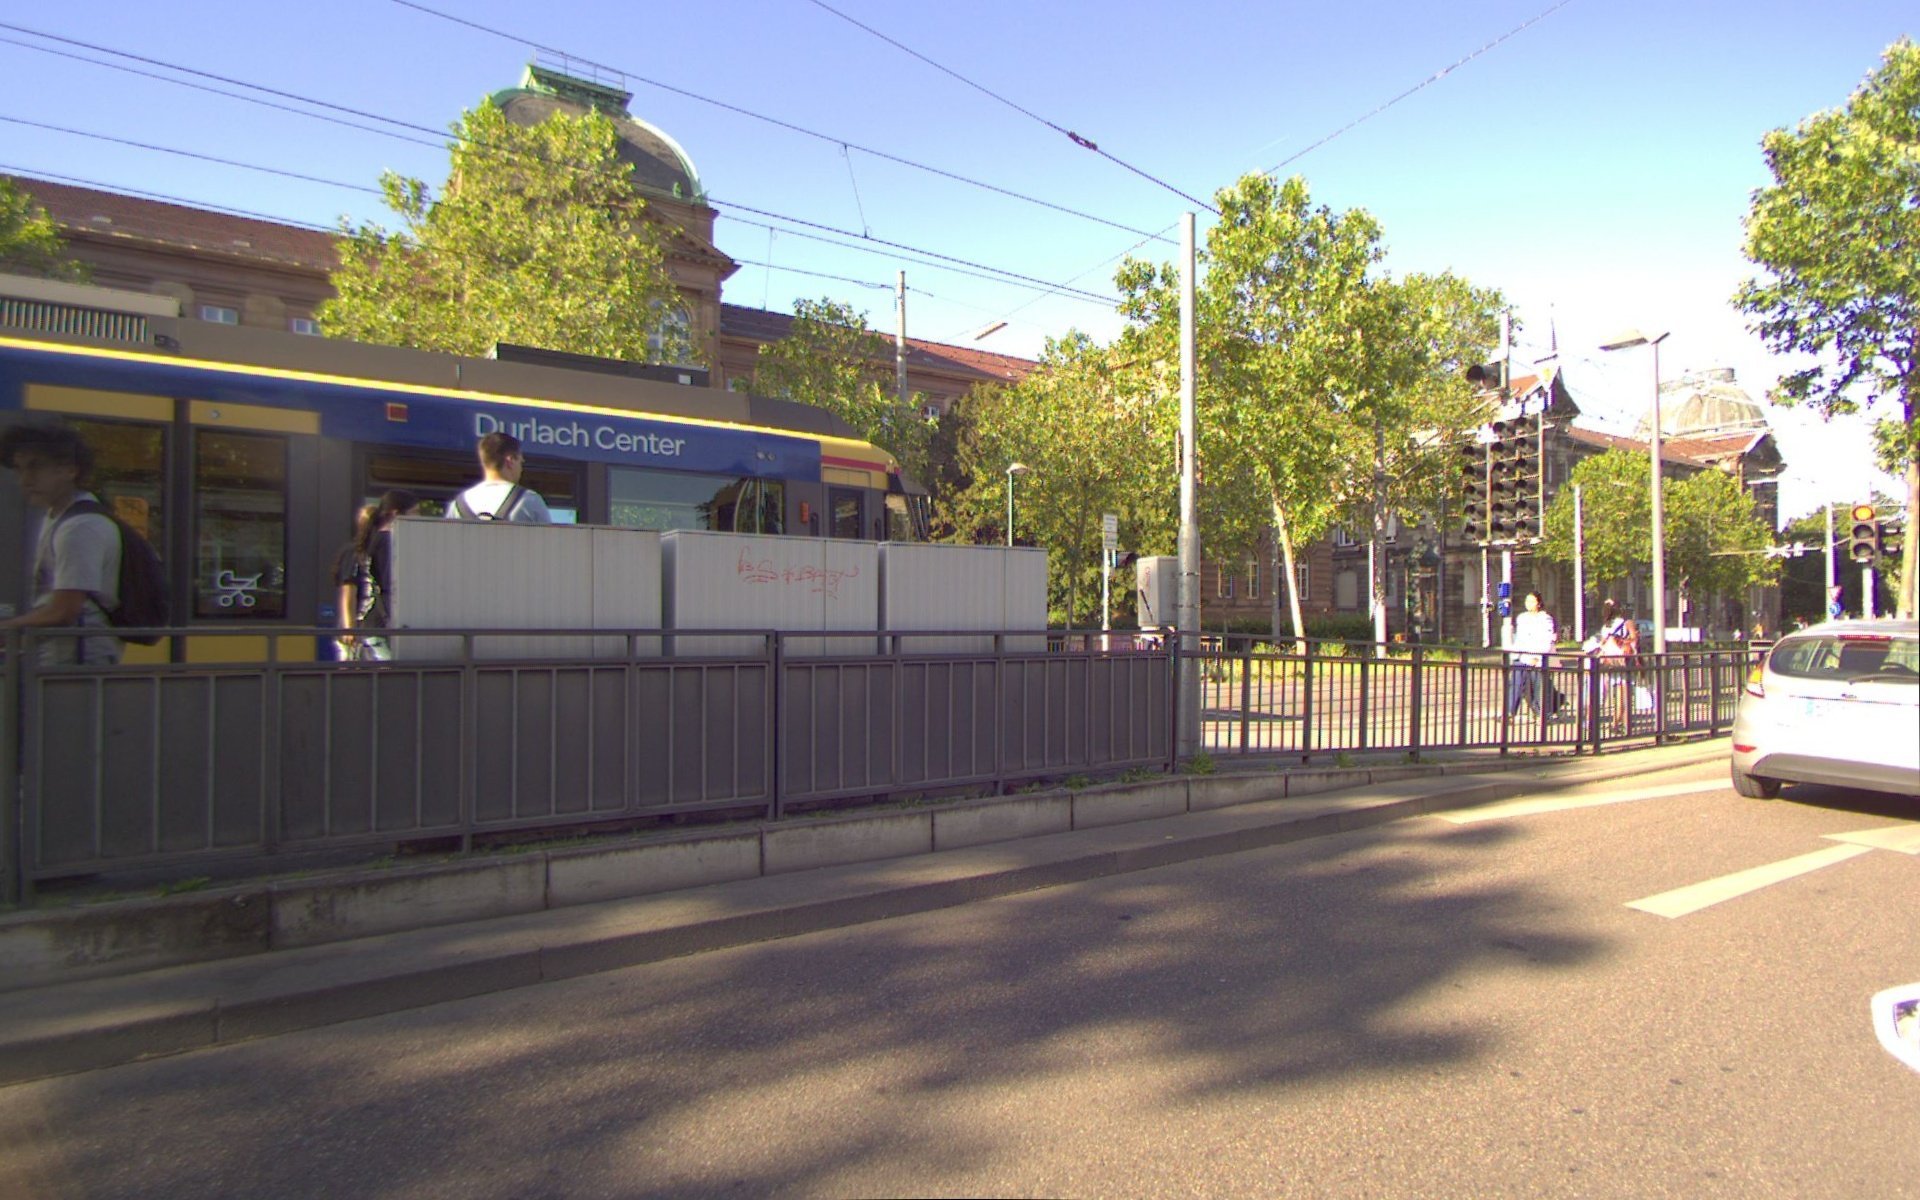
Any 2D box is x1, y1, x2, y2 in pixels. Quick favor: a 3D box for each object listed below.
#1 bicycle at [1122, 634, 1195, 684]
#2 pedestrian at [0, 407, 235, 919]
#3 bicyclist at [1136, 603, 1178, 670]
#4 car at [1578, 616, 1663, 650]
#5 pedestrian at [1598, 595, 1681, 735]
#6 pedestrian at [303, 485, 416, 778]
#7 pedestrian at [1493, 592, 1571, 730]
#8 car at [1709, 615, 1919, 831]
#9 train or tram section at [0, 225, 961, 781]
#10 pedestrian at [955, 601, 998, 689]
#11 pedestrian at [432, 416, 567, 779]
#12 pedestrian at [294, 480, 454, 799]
[{"bbox_3d":[4.252,1.258,21.624,0.644,0.976,1.553,2,0,-32],"label":"bicycle"},{"bbox_3d":[-3.214,0.222,3.792,0.538,1.757,0.540,-1,-1,17],"label":"pedestrian"},{"bbox_3d":[4.241,0.787,21.652,0.643,1.404,0.562,2,0,-33],"label":"bicyclist"},{"bbox_3d":[32.598,1.617,49.555,3.952,1.646,1.984,1,-1,-30],"label":"car"},{"bbox_3d":[7.974,0.744,11.794,0.641,1.577,0.626,1,-1,-37],"label":"pedestrian"},{"bbox_3d":[-3.791,0.196,6.334,0.541,1.724,0.604,1,-2,-37],"label":"pedestrian"},{"bbox_3d":[7.081,0.754,12.433,0.635,1.640,0.635,4,-3,-36],"label":"pedestrian"},{"bbox_3d":[7.772,0.872,8.045,3.592,1.428,1.651,1,0,-32],"label":"car"},{"bbox_3d":[-6.214,-0.580,7.377,12.975,3.303,2.897,2,0,-34],"label":"train or tram section"},{"bbox_3d":[0.308,0.834,18.973,0.634,1.623,0.529,1,-1,-30],"label":"pedestrian"},{"bbox_3d":[-2.404,-0.004,5.237,0.535,1.757,0.544,1,-2,-37],"label":"pedestrian"},{"bbox_3d":[-3.452,0.226,5.917,0.740,1.724,0.628,1,-2,-37],"label":"pedestrian"}]
